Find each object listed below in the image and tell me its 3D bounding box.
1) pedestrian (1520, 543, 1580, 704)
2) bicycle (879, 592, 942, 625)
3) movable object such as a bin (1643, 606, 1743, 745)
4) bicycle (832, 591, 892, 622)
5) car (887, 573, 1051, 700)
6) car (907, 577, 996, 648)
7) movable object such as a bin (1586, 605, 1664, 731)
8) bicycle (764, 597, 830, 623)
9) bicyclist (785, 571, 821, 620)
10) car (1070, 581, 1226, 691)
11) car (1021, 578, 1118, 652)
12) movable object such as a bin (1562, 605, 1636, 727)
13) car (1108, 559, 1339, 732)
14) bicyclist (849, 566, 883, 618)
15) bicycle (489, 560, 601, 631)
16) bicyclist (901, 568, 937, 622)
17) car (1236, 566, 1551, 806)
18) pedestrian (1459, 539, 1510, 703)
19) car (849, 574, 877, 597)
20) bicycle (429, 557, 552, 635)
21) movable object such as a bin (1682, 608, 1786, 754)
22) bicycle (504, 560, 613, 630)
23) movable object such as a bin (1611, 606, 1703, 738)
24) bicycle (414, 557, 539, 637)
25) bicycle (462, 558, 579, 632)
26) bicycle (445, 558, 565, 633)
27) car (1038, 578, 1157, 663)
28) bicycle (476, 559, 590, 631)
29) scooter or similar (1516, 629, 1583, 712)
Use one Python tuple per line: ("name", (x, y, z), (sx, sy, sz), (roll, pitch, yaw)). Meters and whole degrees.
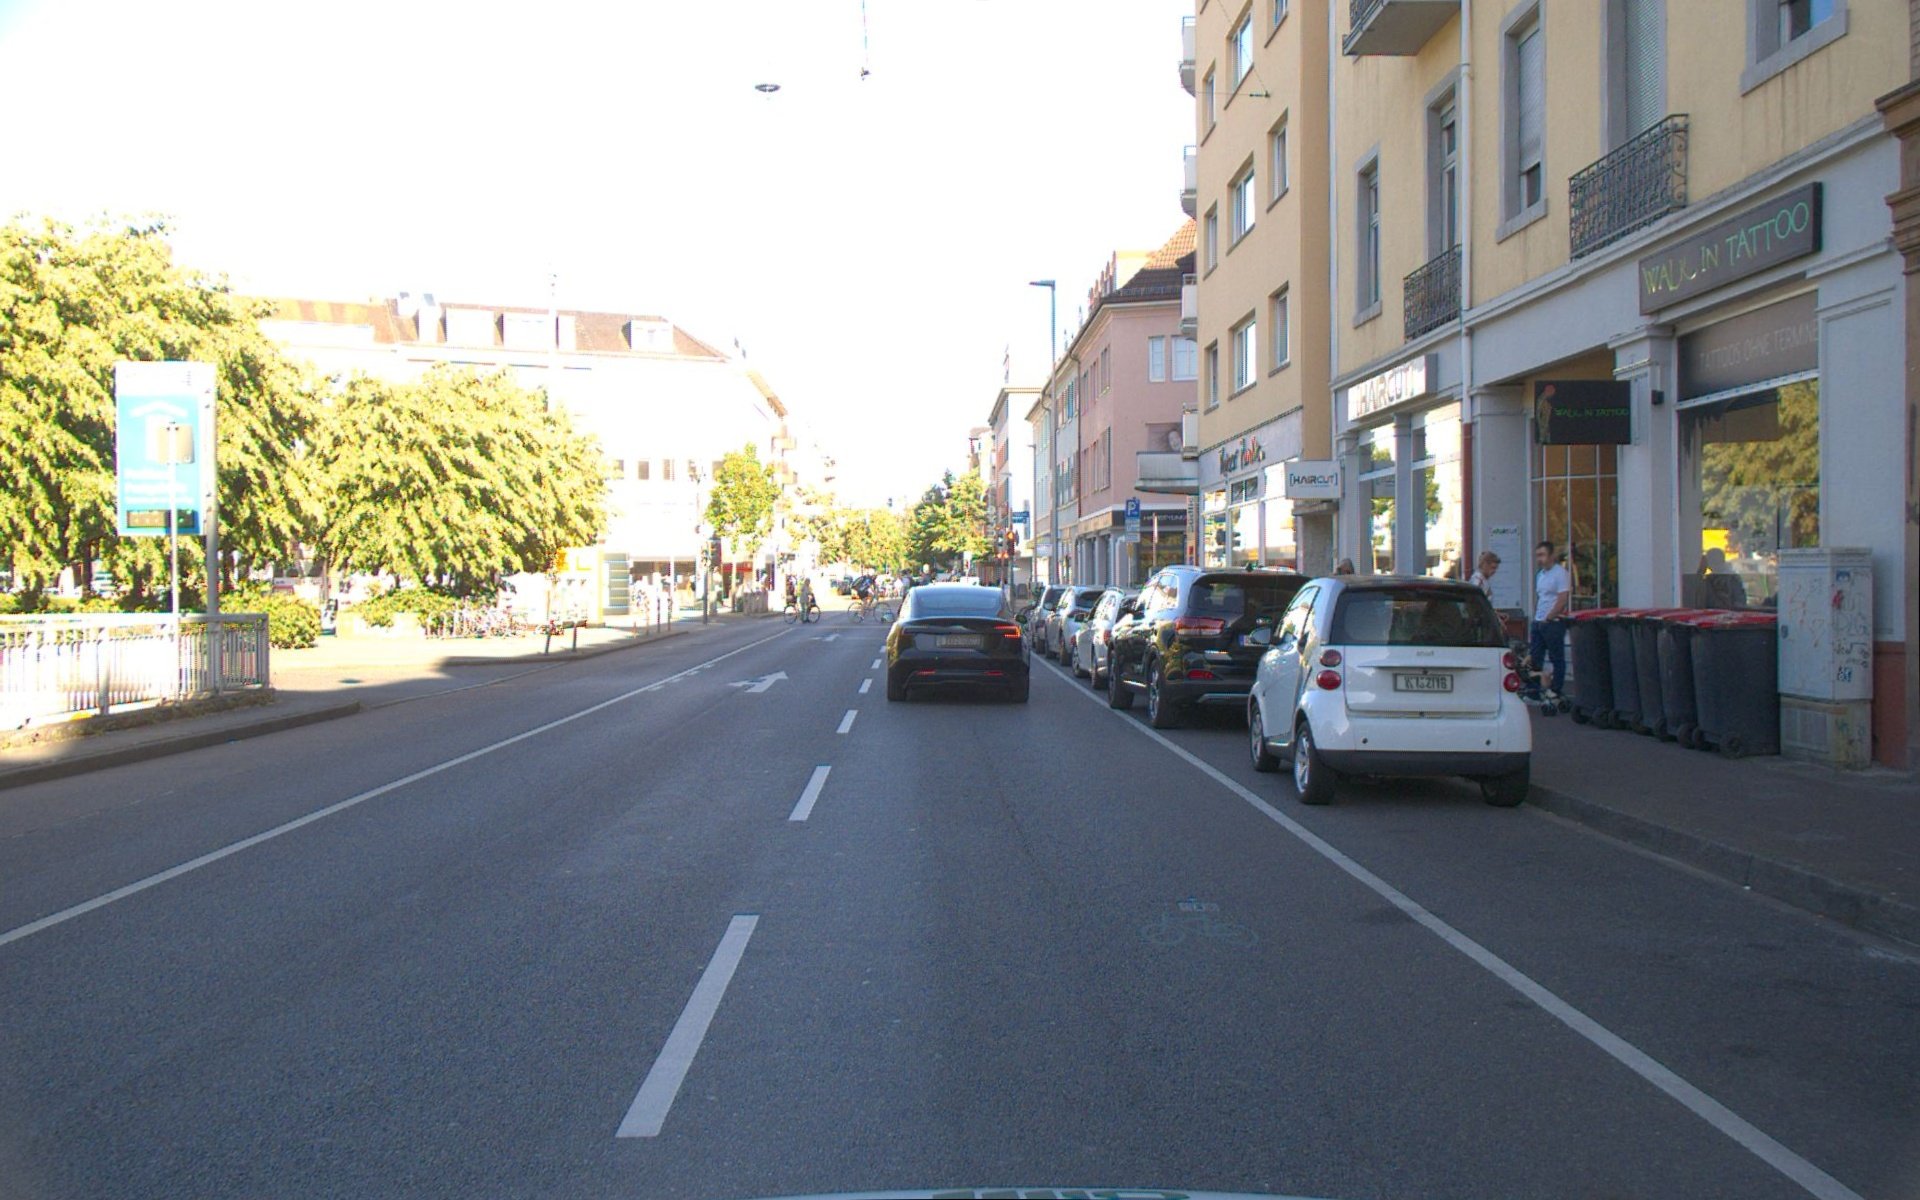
("pedestrian", (6.193, 0.236, 17.367), (0.460, 1.664, 0.513), (0, 1, 3))
("bicycle", (-1.582, 0.279, 52.873), (1.972, 1.040, 0.887), (0, 1, -5))
("movable object such as a bin", (5.930, 0.596, 13.403), (0.485, 1.070, 0.631), (-2, 1, -3))
("bicycle", (-3.302, 0.222, 55.666), (1.972, 1.040, 0.761), (0, 0, -5))
("car", (0.021, 0.455, 22.217), (1.955, 1.506, 4.493), (1, 0, -2))
("car", (-0.167, 0.236, 37.469), (1.895, 1.513, 4.271), (0, 1, 0))
("movable object such as a bin", (5.884, 0.592, 14.642), (0.469, 1.070, 0.467), (-2, 1, -3))
("bicycle", (-5.744, 0.356, 58.249), (2.197, 0.898, 0.924), (0, 1, 2))
("bicyclist", (-5.524, -0.155, 58.234), (1.122, 1.715, 0.915), (0, 0, 2))
("car", (2.714, 0.505, 24.682), (1.756, 1.485, 4.083), (1, 0, -1))
("car", (2.331, 0.319, 36.079), (1.756, 1.485, 3.867), (1, 0, -1))
("movable object such as a bin", (5.844, 0.594, 15.141), (0.446, 1.070, 0.499), (-2, 1, -3))
("car", (2.772, 0.455, 18.248), (1.682, 1.664, 4.082), (1, 0, -3))
("bicyclist", (-3.179, -0.271, 55.672), (1.124, 1.715, 0.818), (0, 0, -5))
("bicycle", (-12.189, -0.142, 48.605), (3.055, 2.049, 0.909), (0, 1, 8))
("bicyclist", (-1.315, -0.172, 52.909), (1.124, 1.715, 0.918), (0, 0, -5))
("car", (3.121, 0.547, 12.430), (1.580, 1.573, 2.855), (1, 1, 0))
("pedestrian", (5.411, 0.205, 17.072), (0.460, 1.664, 0.514), (0, 1, 14))
("car", (-7.804, -1.196, 133.484), (1.953, 1.802, 4.000), (1, 1, 0))
("bicycle", (-12.609, -0.110, 44.435), (3.055, 2.049, 0.909), (0, 1, 8))
("movable object such as a bin", (5.950, 0.611, 12.733), (0.469, 1.070, 0.631), (-2, 1, -3))
("bicycle", (-12.057, -0.156, 49.651), (3.055, 2.049, 0.909), (0, 1, 8))
("movable object such as a bin", (5.912, 0.599, 14.050), (0.469, 1.070, 0.631), (-2, 1, -3))
("bicycle", (-12.701, -0.087, 43.476), (3.055, 2.049, 0.909), (0, 1, 8))
("bicycle", (-12.352, -0.158, 46.479), (3.055, 2.049, 0.909), (0, 1, 8))
("bicycle", (-12.494, -0.133, 45.429), (3.055, 2.049, 0.909), (0, 1, 8))
("car", (2.532, 0.375, 31.223), (1.756, 1.485, 3.866), (1, 0, -2))
("bicycle", (-12.277, -0.148, 47.564), (3.055, 2.049, 0.909), (0, 1, 8))
("scooter or similar", (5.901, 0.701, 16.578), (0.566, 0.793, 0.467), (-2, 0, 15))
